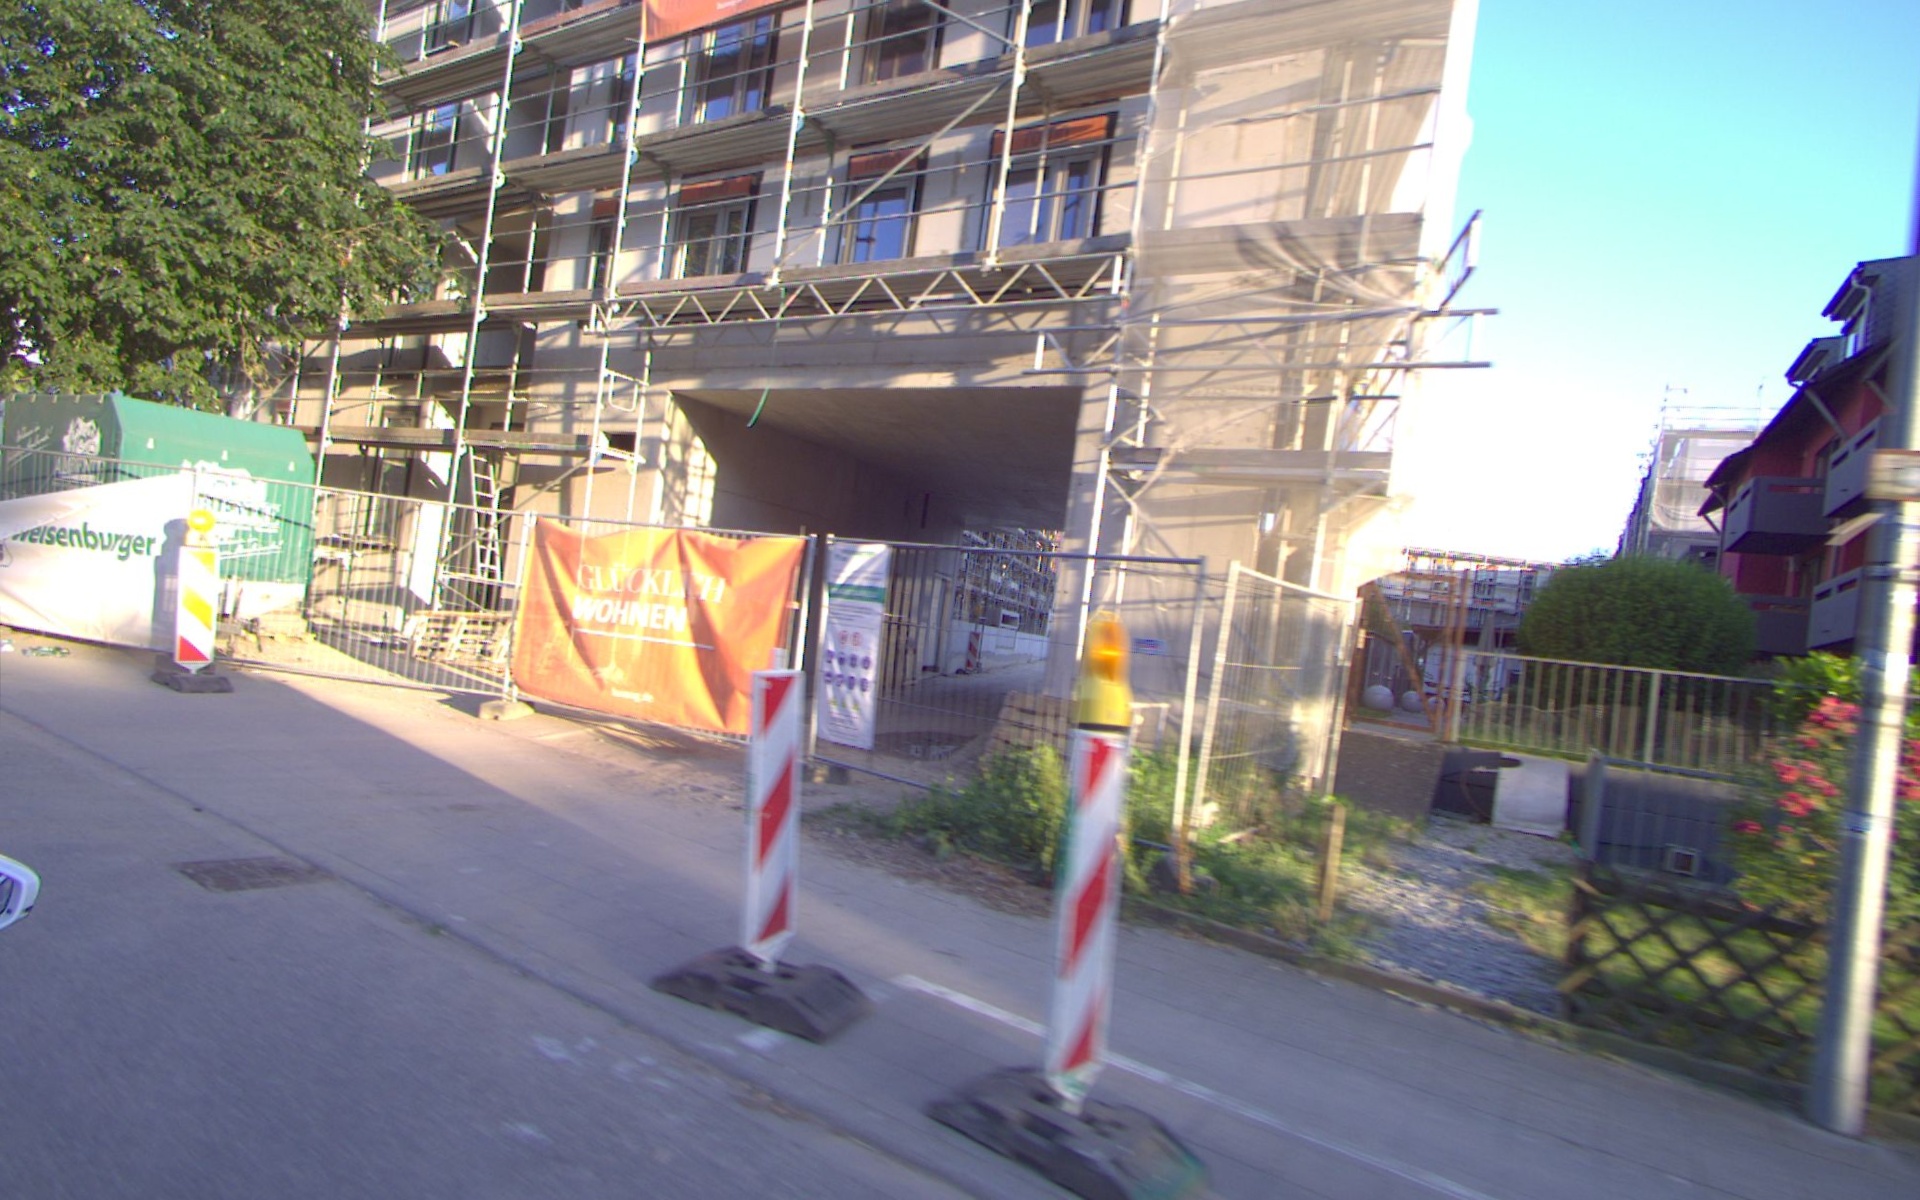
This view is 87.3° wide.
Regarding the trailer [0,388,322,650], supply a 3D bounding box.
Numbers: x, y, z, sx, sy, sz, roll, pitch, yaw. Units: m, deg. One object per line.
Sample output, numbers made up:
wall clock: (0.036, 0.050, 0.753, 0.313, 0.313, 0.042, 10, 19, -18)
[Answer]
trailer: (-9.963, -1.012, 12.190, 4.118, 2.569, 1.996, 8, -1, 33)
